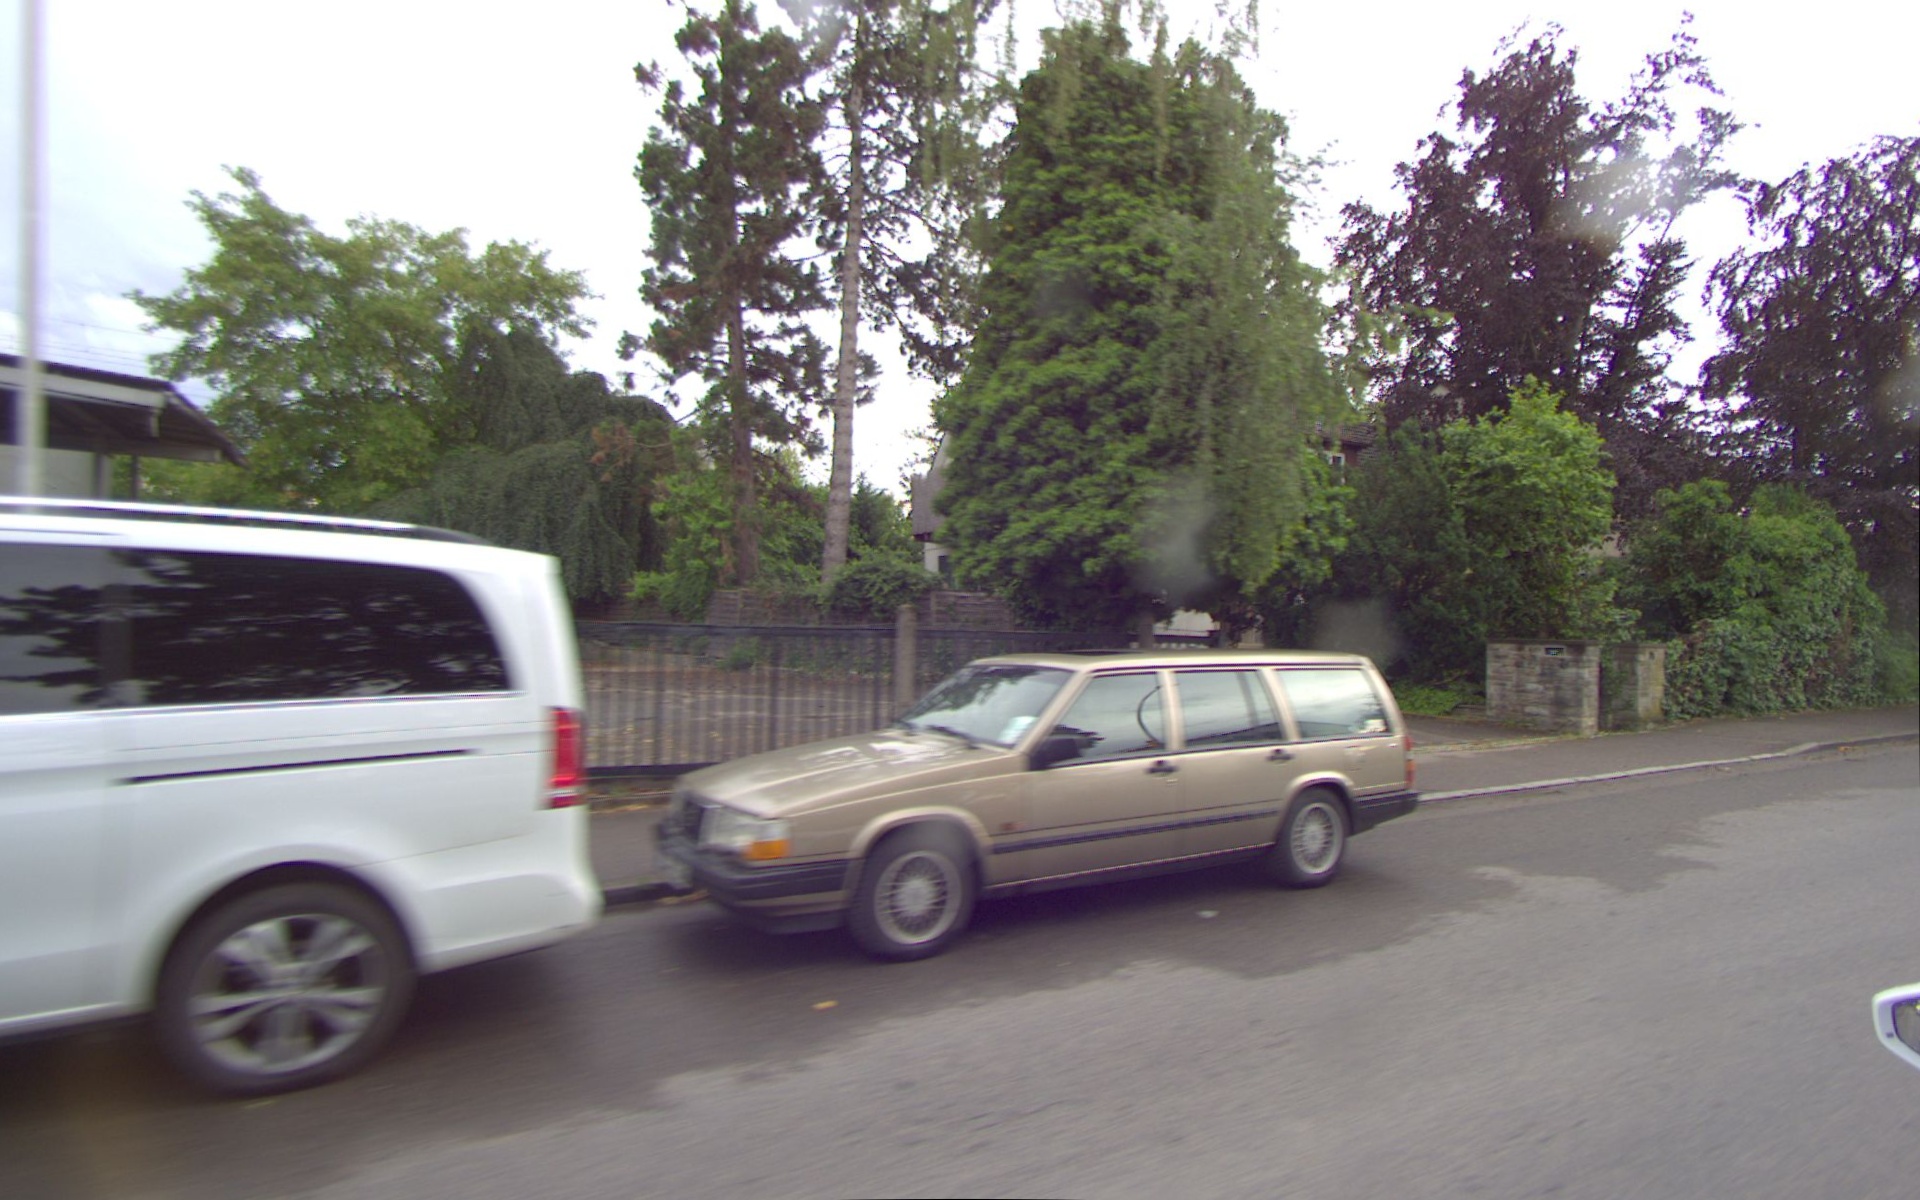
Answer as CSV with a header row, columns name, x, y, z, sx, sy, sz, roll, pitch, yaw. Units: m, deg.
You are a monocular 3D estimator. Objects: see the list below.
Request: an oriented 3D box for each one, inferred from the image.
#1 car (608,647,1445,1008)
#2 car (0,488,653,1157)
name,x,y,z,sx,sy,sz,roll,pitch,yaw
car,0.589,1.016,6.111,4.922,1.446,1.808,2,-3,-30
car,-3.861,0.649,3.345,5.148,1.917,1.885,2,-2,-30
